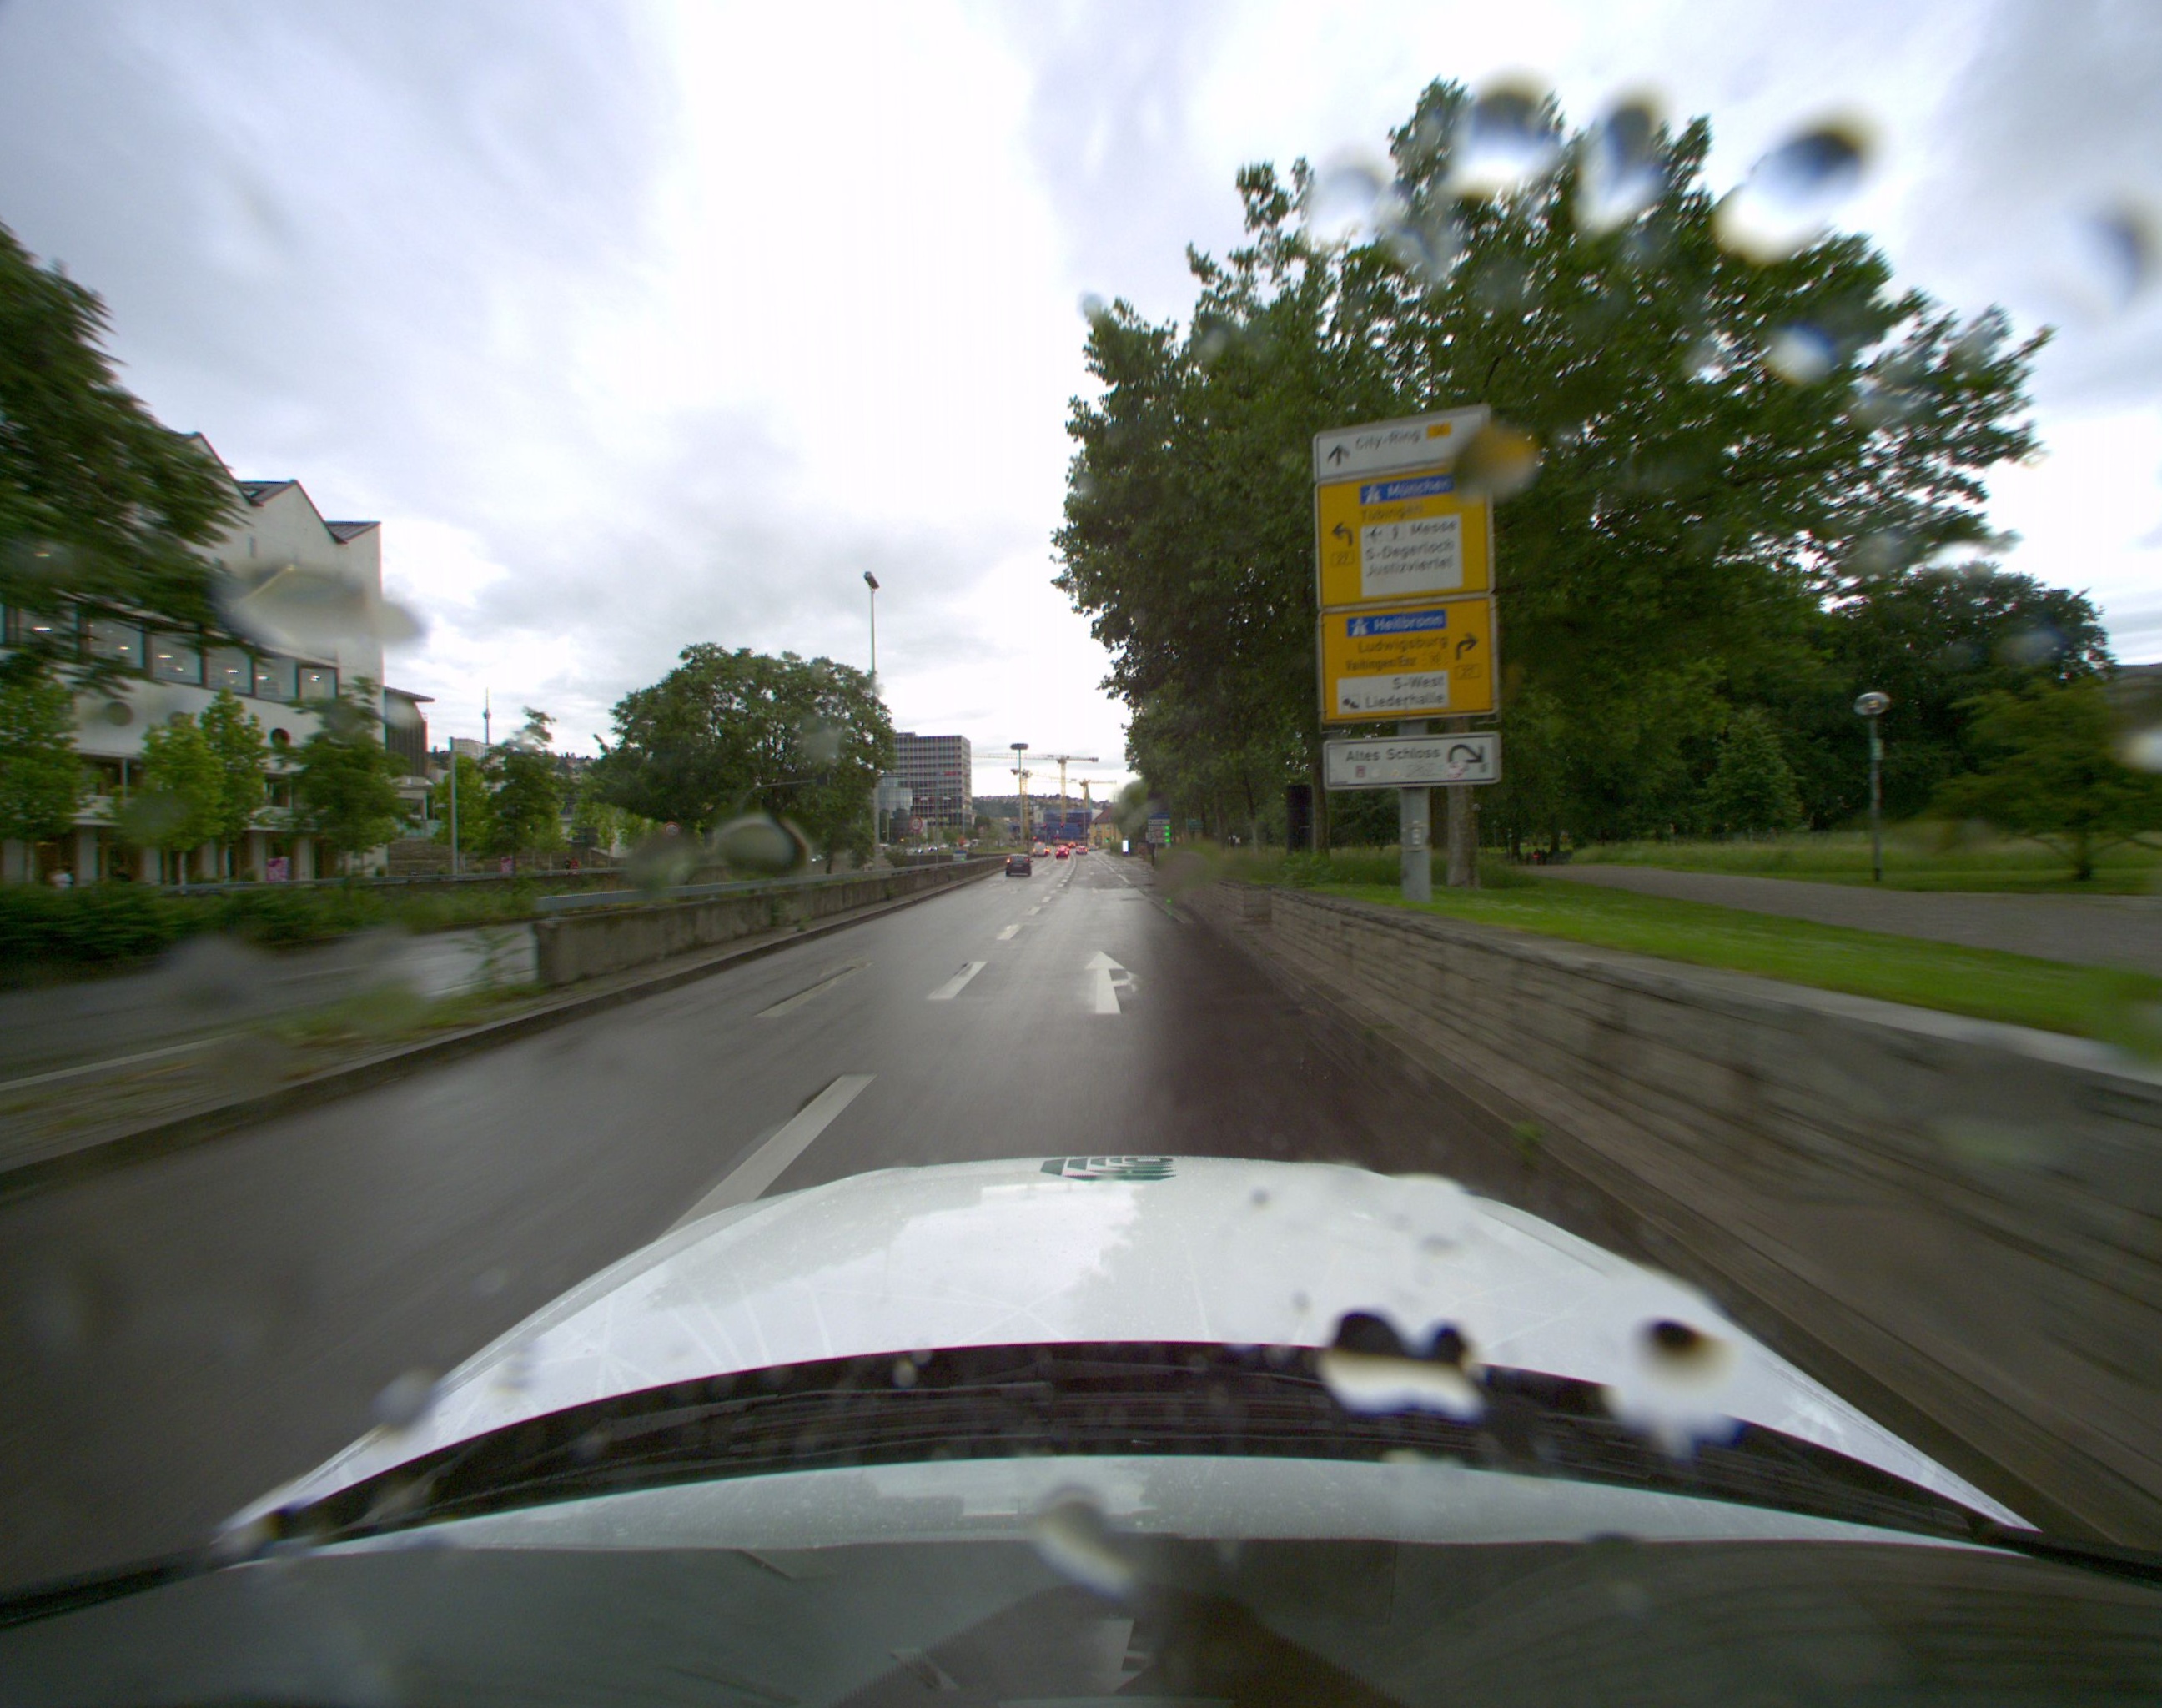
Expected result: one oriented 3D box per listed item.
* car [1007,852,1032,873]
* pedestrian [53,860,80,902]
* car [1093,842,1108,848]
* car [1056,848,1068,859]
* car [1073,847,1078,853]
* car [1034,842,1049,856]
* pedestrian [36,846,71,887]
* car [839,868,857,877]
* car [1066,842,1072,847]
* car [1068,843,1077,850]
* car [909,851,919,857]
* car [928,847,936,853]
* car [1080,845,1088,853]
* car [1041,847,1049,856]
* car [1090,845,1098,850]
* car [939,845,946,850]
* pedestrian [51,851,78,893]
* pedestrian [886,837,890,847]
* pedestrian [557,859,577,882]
[{"bbox_3d":[-4.159,0.579,55.498,1.538,1.415,3.899,0,0,-2],"label":"car"},{"bbox_3d":[-45.725,1.206,36.709,0.731,1.859,0.706,0,-1,41],"label":"pedestrian"},{"bbox_3d":[4.966,-2.244,208.072,3.646,1.543,1.529,0,-1,-44],"label":"car"},{"bbox_3d":[-2.915,-0.098,125.150,1.749,1.471,4.219,0,2,-2],"label":"car"},{"bbox_3d":[-1.073,-0.765,159.856,1.072,0.990,1.972,0,-1,2],"label":"car"},{"bbox_3d":[-6.589,-0.754,135.792,2.285,2.314,5.004,0,0,-1],"label":"car"},{"bbox_3d":[-47.813,0.583,37.898,0.701,1.859,0.736,0,-1,-19],"label":"pedestrian"},{"bbox_3d":[-29.622,2.375,103.605,1.483,1.129,3.049,0,0,-2],"label":"car"},{"bbox_3d":[-3.374,-2.605,233.341,1.473,1.360,3.137,0,0,2],"label":"car"},{"bbox_3d":[-2.341,-2.016,221.151,2.153,1.879,3.772,0,0,2],"label":"car"},{"bbox_3d":[-35.893,0.069,174.920,1.340,1.352,2.931,0,0,1],"label":"car"},{"bbox_3d":[-36.178,-0.988,197.822,1.460,1.440,2.961,0,0,-1],"label":"car"},{"bbox_3d":[0.551,-0.939,153.661,1.439,1.359,2.413,0,0,2],"label":"car"},{"bbox_3d":[-6.314,-0.436,142.518,1.461,1.706,3.137,0,0,-3],"label":"car"},{"bbox_3d":[2.964,-1.433,187.205,1.630,1.174,3.266,0,-1,2],"label":"car"},{"bbox_3d":[-38.740,-1.751,227.575,1.404,1.255,3.164,0,0,-1],"label":"car"},{"bbox_3d":[-45.075,0.797,36.111,0.731,1.859,0.706,0,-1,41],"label":"pedestrian"},{"bbox_3d":[-40.994,-2.512,173.059,0.765,2.090,0.726,0,5,-2],"label":"pedestrian"},{"bbox_3d":[-41.750,1.331,66.134,1.083,1.866,0.828,0,-1,-4],"label":"pedestrian"}]
